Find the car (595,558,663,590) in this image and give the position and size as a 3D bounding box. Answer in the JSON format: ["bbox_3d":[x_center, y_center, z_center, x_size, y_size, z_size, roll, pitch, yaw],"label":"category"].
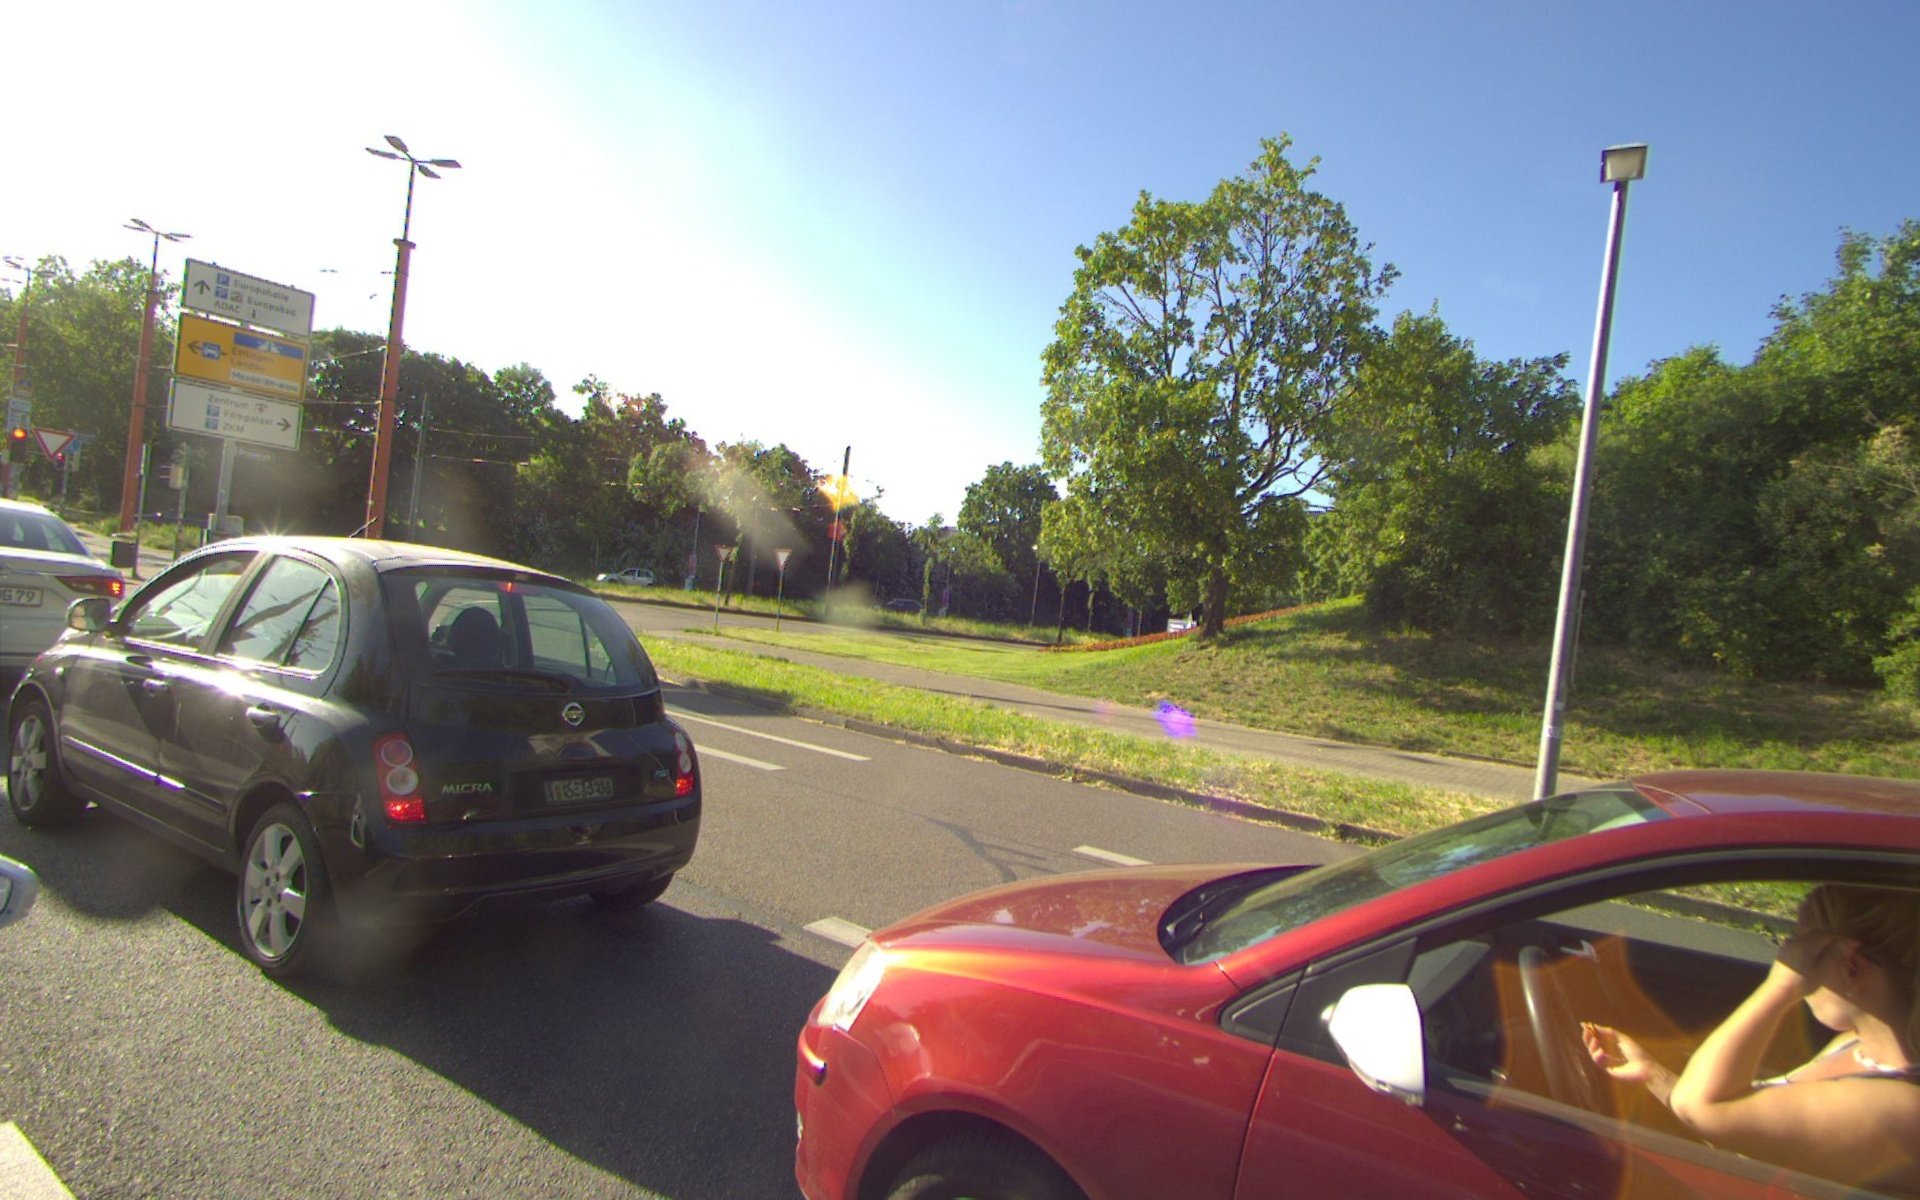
[{"bbox_3d":[-21.265,-1.680,64.641,3.764,1.528,1.644,8,-1,-31],"label":"car"}]

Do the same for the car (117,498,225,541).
[{"bbox_3d":[-41.027,-4.168,52.421,4.105,1.528,1.644,8,-1,-31],"label":"car"}]

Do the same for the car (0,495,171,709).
[{"bbox_3d":[-8.368,-0.174,8.076,4.256,1.457,1.802,6,-2,33],"label":"car"}]

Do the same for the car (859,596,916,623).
[{"bbox_3d":[-5.276,0.722,73.133,3.774,1.419,1.639,9,-1,-38],"label":"car"}]

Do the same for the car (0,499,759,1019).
[{"bbox_3d":[-2.795,0.468,4.621,3.385,1.457,1.579,6,-2,32],"label":"car"}]

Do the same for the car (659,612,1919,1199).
[{"bbox_3d":[1.348,1.003,1.865,3.629,1.477,1.579,6,-2,32],"label":"car"}]
